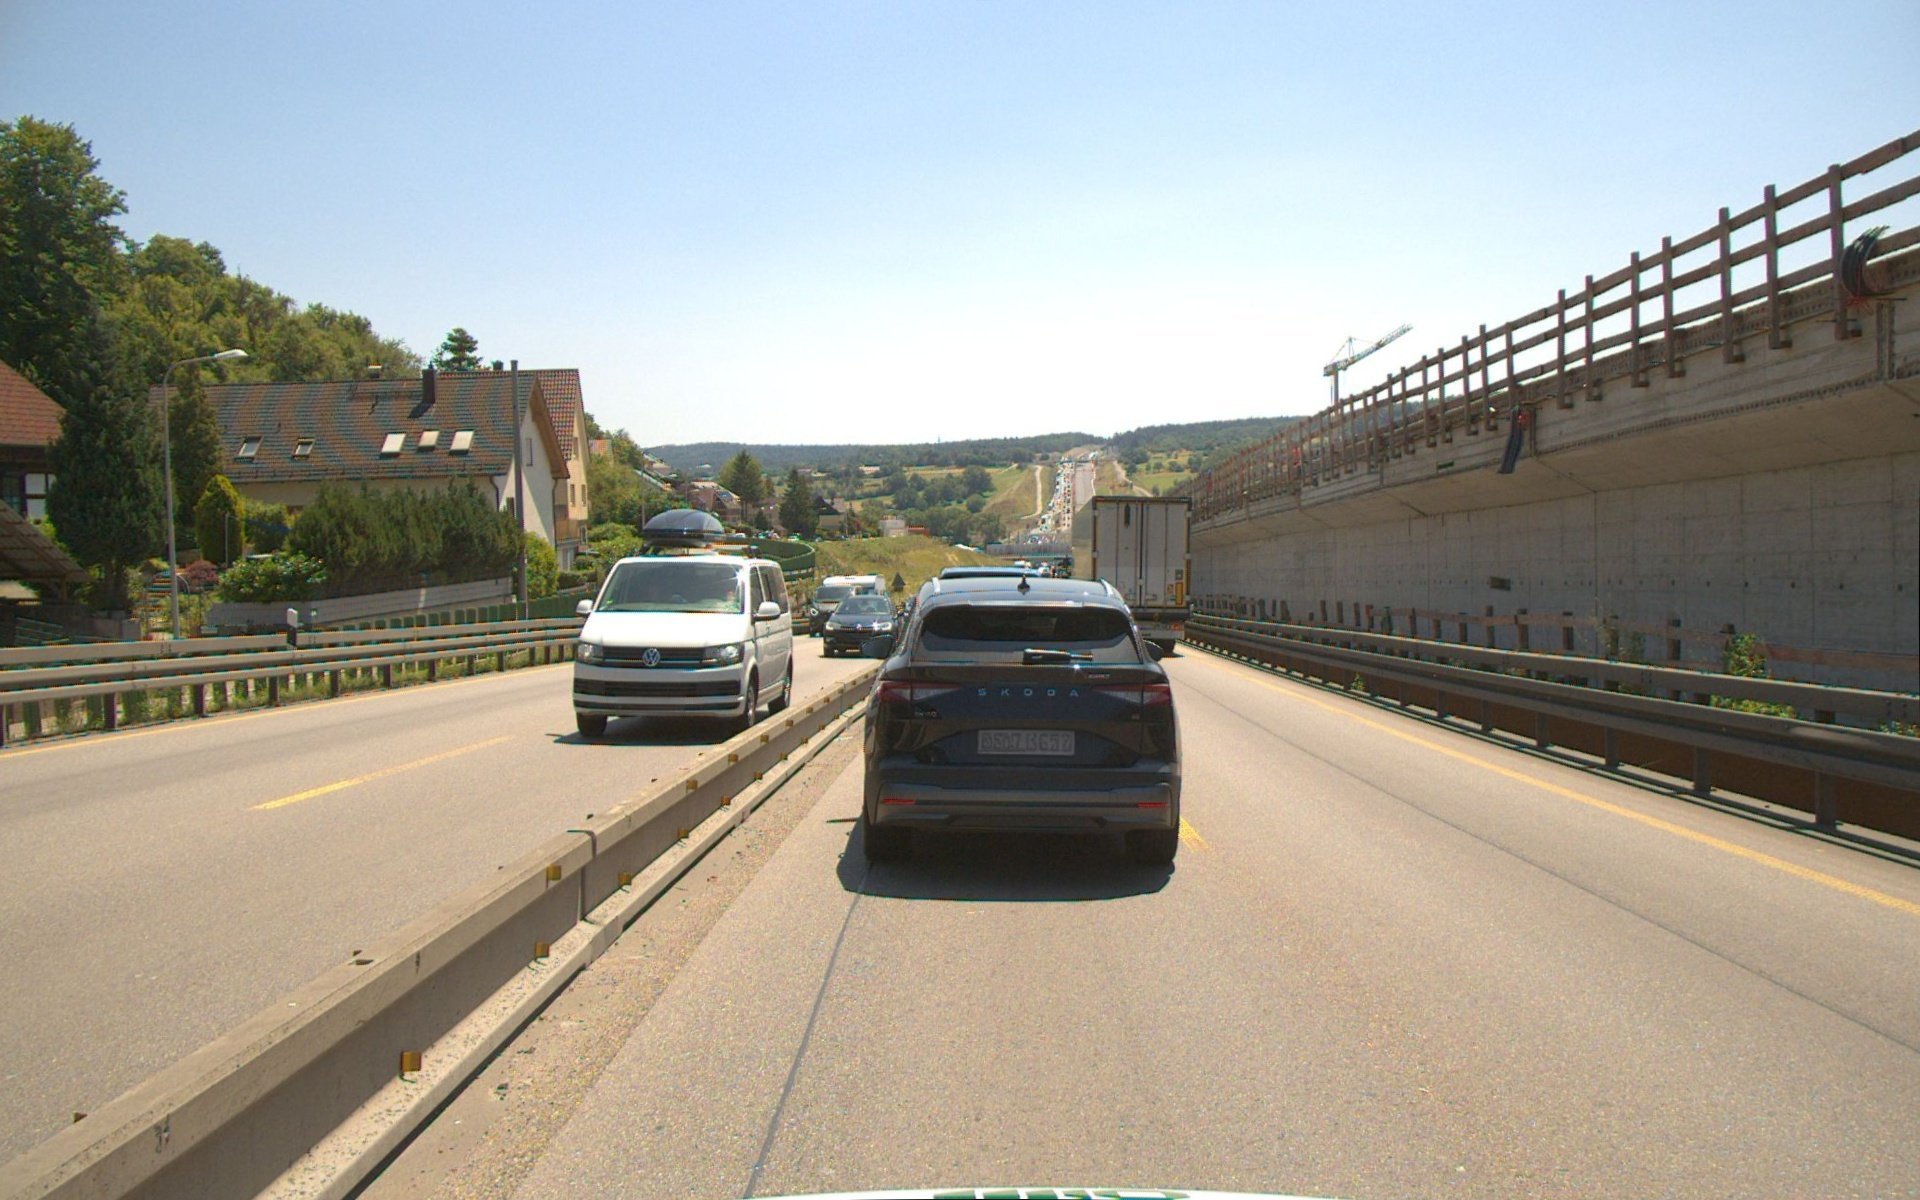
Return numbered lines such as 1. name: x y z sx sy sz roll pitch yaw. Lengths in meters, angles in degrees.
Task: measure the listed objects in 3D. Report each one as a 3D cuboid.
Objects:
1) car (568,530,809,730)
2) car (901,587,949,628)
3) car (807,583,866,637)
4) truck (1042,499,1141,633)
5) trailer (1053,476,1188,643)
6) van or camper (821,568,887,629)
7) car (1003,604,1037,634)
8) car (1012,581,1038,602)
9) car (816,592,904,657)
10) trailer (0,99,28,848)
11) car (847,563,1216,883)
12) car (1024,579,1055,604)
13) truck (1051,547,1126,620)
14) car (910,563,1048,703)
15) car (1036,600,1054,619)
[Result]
1. car: -2.958 0.343 19.111 1.981 1.995 4.898 1 -1 -1
2. car: -1.427 0.342 68.890 1.834 1.614 4.479 1 -1 1
3. car: -4.853 0.426 65.564 1.952 2.049 4.000 1 -1 0
4. truck: 4.241 -0.986 54.976 2.462 4.096 8.235 1 -1 -1
5. trailer: 4.408 -0.931 47.730 2.480 4.199 11.543 1 -1 -1
6. van or camper: -4.631 -0.009 73.514 2.305 2.560 6.328 1 -1 2
7. car: 3.450 1.077 94.998 1.672 1.650 3.999 1 1 -2
8. car: 5.340 -0.667 135.876 1.953 1.613 3.835 1 -1 -1
9. car: -2.462 0.626 41.861 1.953 1.530 4.648 1 -1 -1
10. trailer: -6.668 -0.651 5.071 2.701 4.141 8.635 1 1 0
11. car: 0.243 0.662 10.379 1.807 1.614 3.903 1 -1 -5
12. car: 5.663 -0.591 117.664 1.953 1.613 3.835 1 -1 -1
13. truck: 6.140 -0.668 80.870 3.128 3.247 12.811 0 -1 2
14. car: 0.212 0.440 24.961 1.673 1.914 3.996 1 1 -5
15. car: 7.896 0.889 153.661 1.665 1.758 3.837 1 -1 3
